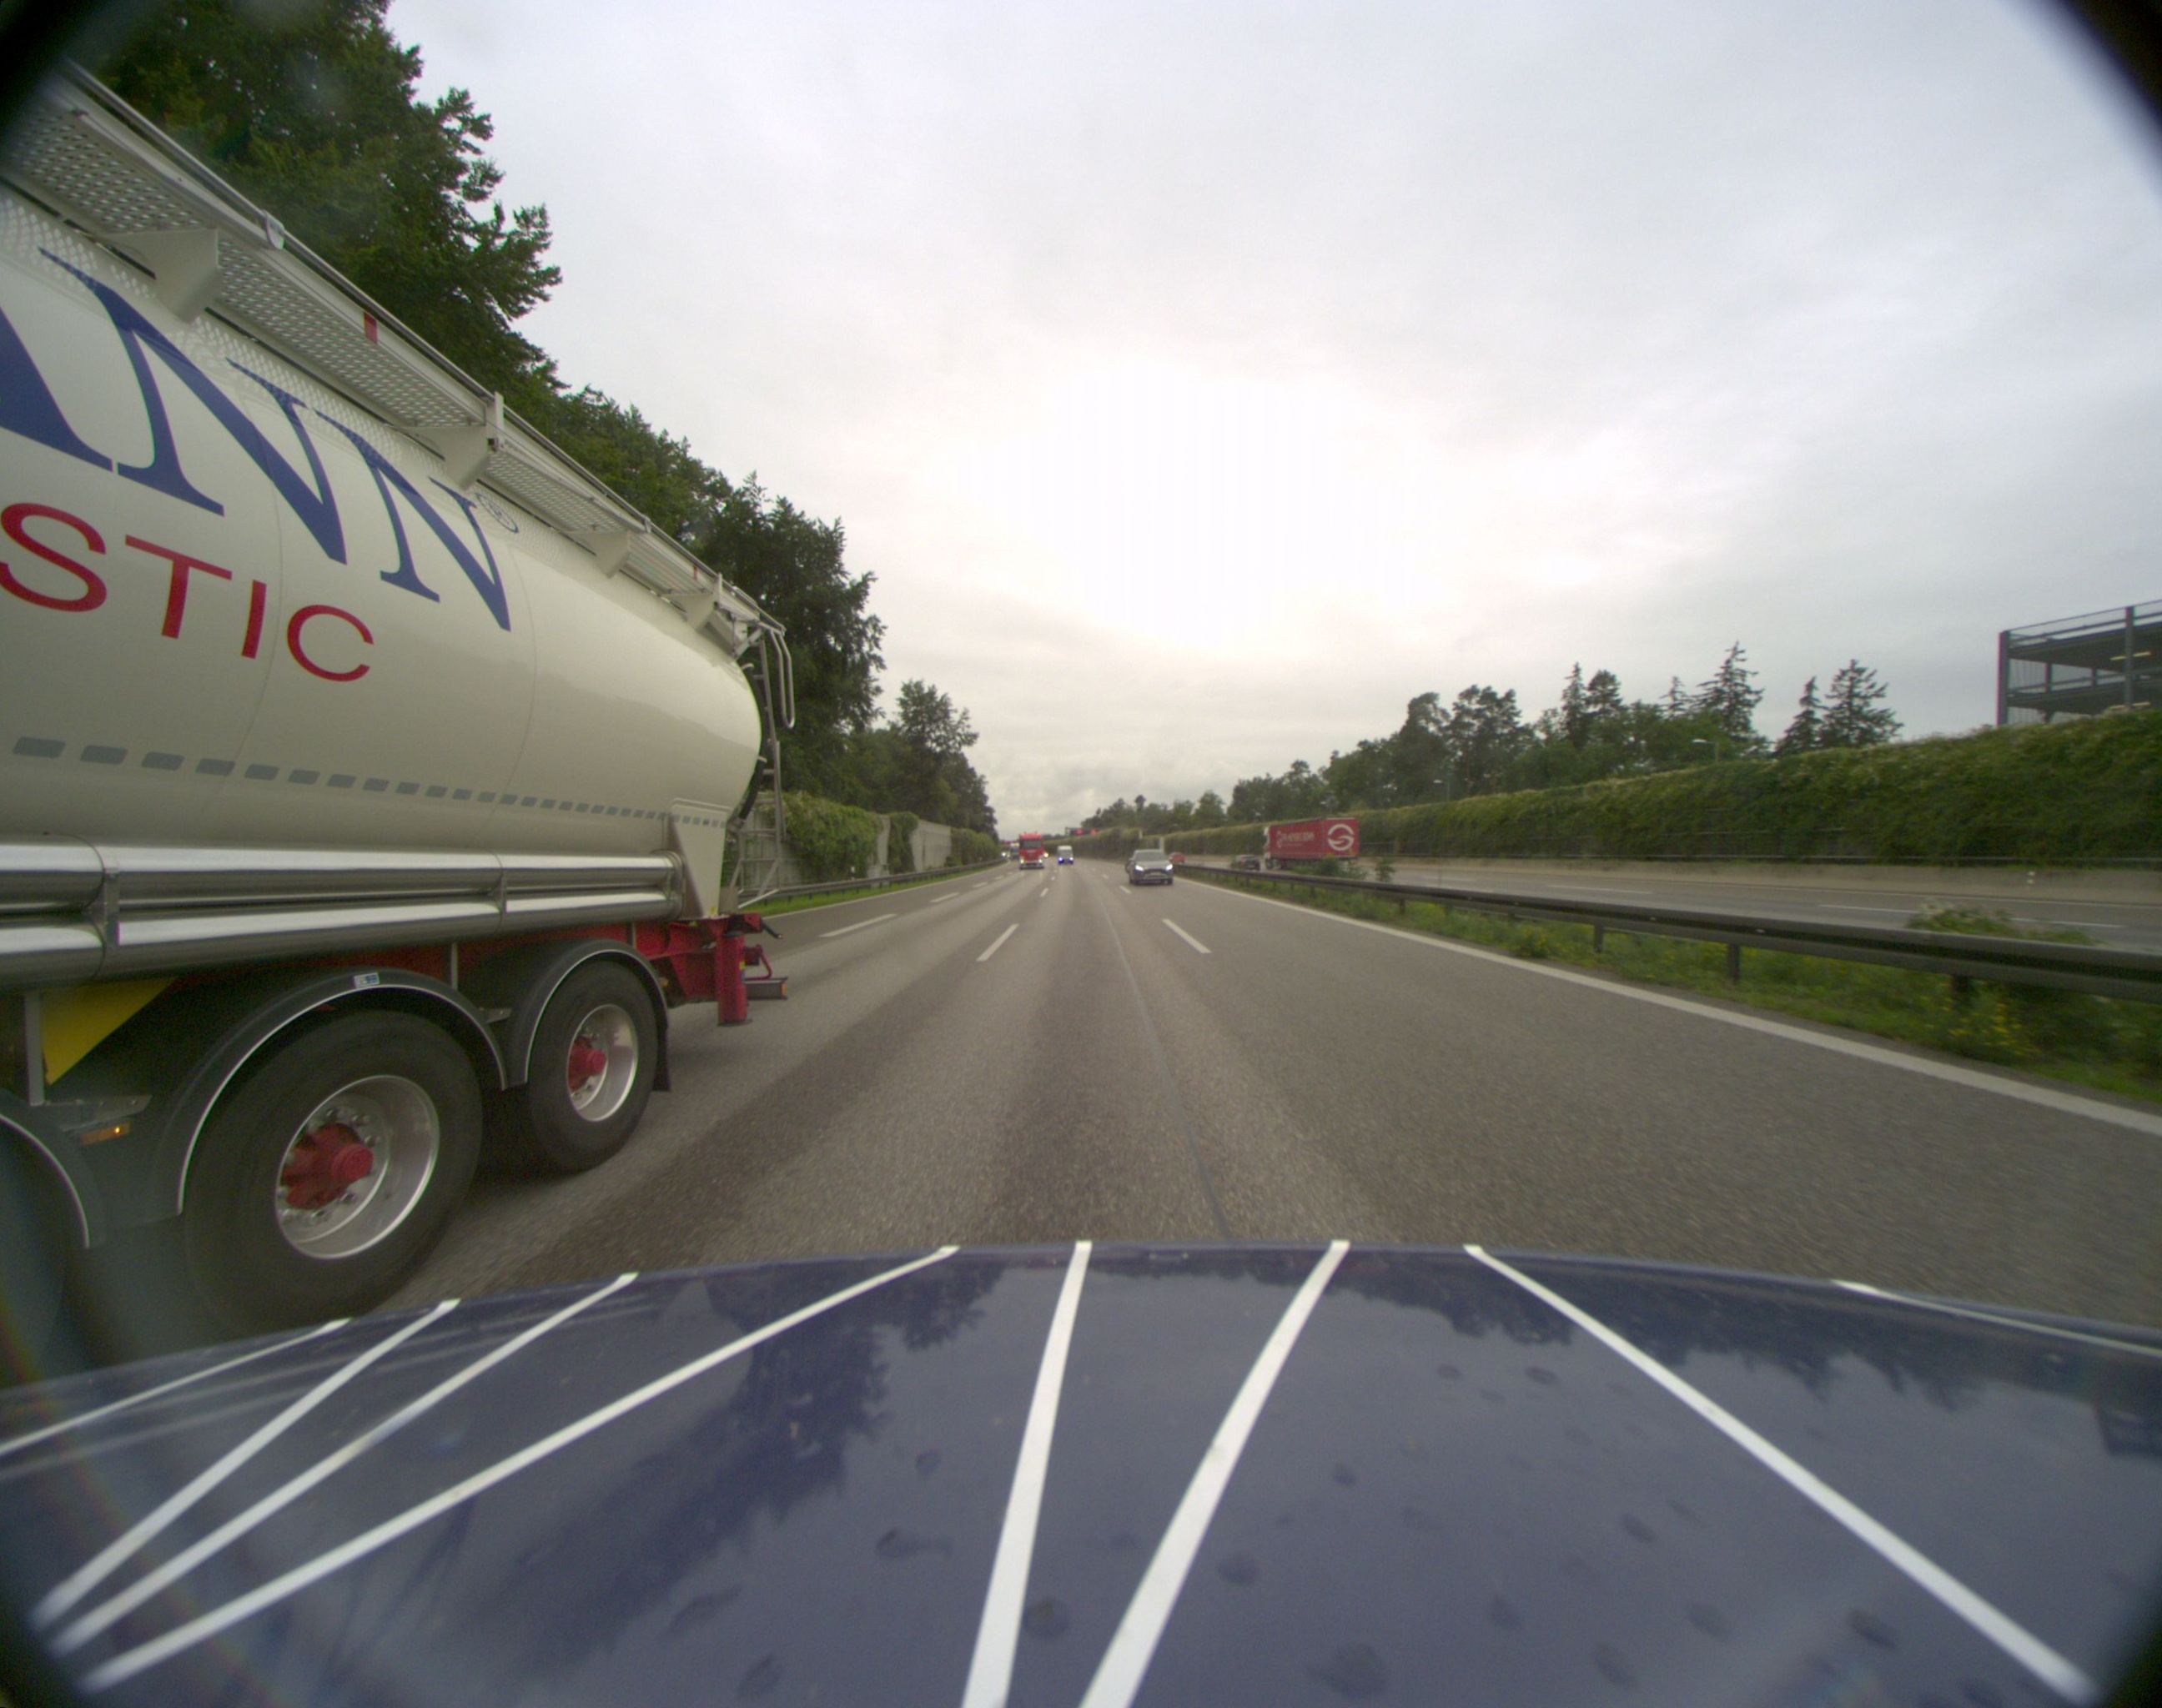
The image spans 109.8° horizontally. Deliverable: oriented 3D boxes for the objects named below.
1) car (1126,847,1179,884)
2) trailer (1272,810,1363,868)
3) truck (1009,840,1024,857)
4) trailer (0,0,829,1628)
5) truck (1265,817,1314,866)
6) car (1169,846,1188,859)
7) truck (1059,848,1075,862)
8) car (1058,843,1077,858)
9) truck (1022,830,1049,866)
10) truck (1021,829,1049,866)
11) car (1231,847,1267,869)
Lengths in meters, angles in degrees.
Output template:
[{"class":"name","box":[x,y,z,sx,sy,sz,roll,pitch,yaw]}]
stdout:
[{"class":"car","box":[3.378,0.534,36.870,2.023,1.594,5.440,-1,0,0]},{"class":"trailer","box":[18.489,-1.115,60.702,2.752,4.104,13.685,-1,0,-1]},{"class":"truck","box":[-14.887,-1.282,175.488,2.711,3.690,8.233,-1,2,-9]},{"class":"trailer","box":[-3.832,-0.174,0.576,2.675,3.916,13.129,-2,0,1]},{"class":"truck","box":[18.368,-1.080,67.145,2.675,4.104,5.915,-1,1,0]},{"class":"car","box":[13.065,-0.168,101.859,1.776,1.560,4.715,2,1,-2]},{"class":"truck","box":[-1.777,0.094,98.011,1.826,1.535,3.997,-2,3,-4]},{"class":"car","box":[-2.194,-0.619,119.809,2.769,2.227,6.543,-1,1,-3]},{"class":"truck","box":[-5.079,-0.751,84.208,2.710,3.691,9.834,-1,2,-4]},{"class":"truck","box":[-4.781,-0.728,79.366,2.709,3.809,4.196,-1,2,-3]},{"class":"car","box":[14.068,0.325,63.747,1.999,1.729,3.999,-2,1,-1]}]
